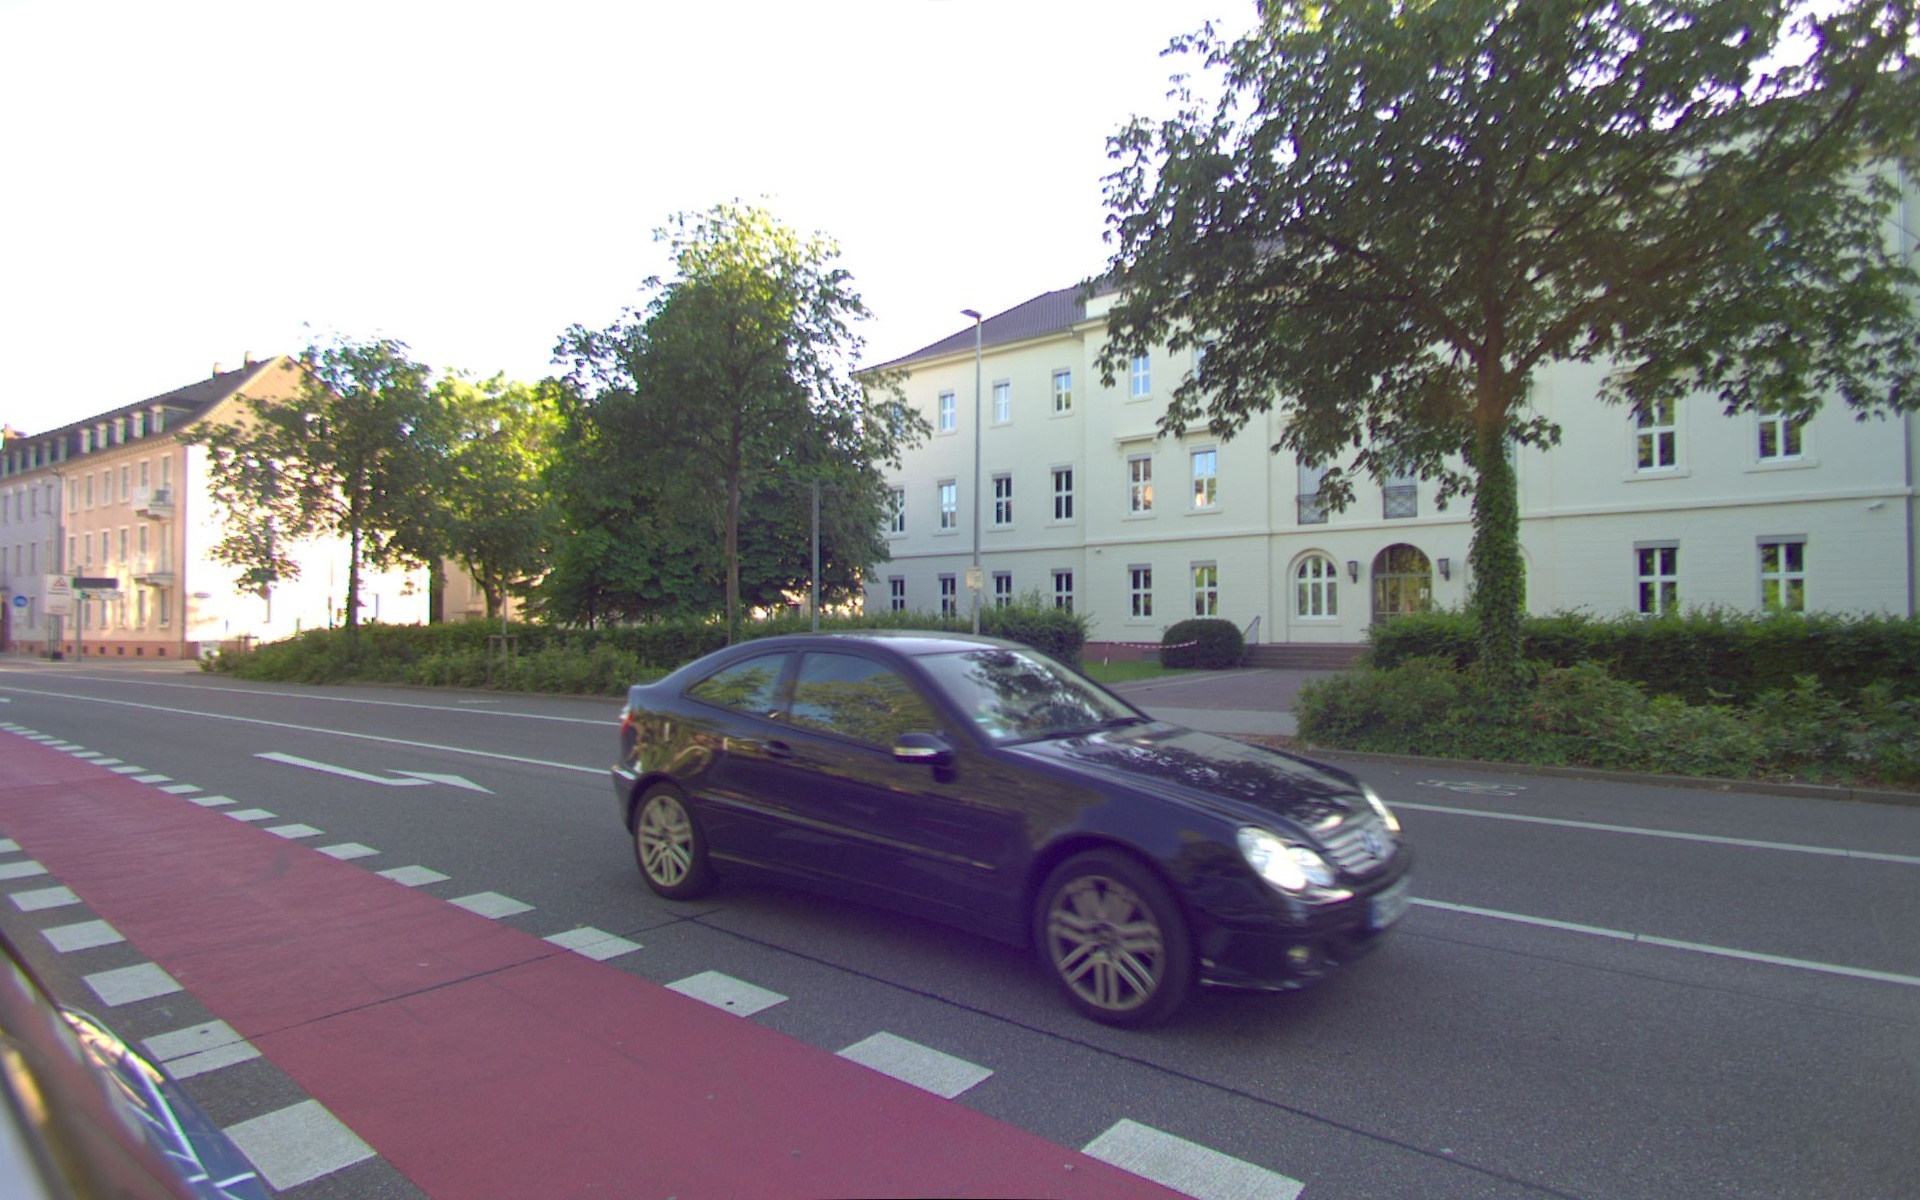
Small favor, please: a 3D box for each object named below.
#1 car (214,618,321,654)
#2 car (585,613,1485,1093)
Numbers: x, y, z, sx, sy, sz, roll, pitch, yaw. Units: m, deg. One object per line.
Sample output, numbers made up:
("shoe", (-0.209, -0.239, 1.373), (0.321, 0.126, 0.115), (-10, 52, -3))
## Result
("car", (-34.663, 1.766, 50.748), (1.993, 1.674, 3.958), (-1, -1, 31))
("car", (0.063, 0.819, 5.023), (4.260, 1.416, 1.688), (-2, -3, 39))
